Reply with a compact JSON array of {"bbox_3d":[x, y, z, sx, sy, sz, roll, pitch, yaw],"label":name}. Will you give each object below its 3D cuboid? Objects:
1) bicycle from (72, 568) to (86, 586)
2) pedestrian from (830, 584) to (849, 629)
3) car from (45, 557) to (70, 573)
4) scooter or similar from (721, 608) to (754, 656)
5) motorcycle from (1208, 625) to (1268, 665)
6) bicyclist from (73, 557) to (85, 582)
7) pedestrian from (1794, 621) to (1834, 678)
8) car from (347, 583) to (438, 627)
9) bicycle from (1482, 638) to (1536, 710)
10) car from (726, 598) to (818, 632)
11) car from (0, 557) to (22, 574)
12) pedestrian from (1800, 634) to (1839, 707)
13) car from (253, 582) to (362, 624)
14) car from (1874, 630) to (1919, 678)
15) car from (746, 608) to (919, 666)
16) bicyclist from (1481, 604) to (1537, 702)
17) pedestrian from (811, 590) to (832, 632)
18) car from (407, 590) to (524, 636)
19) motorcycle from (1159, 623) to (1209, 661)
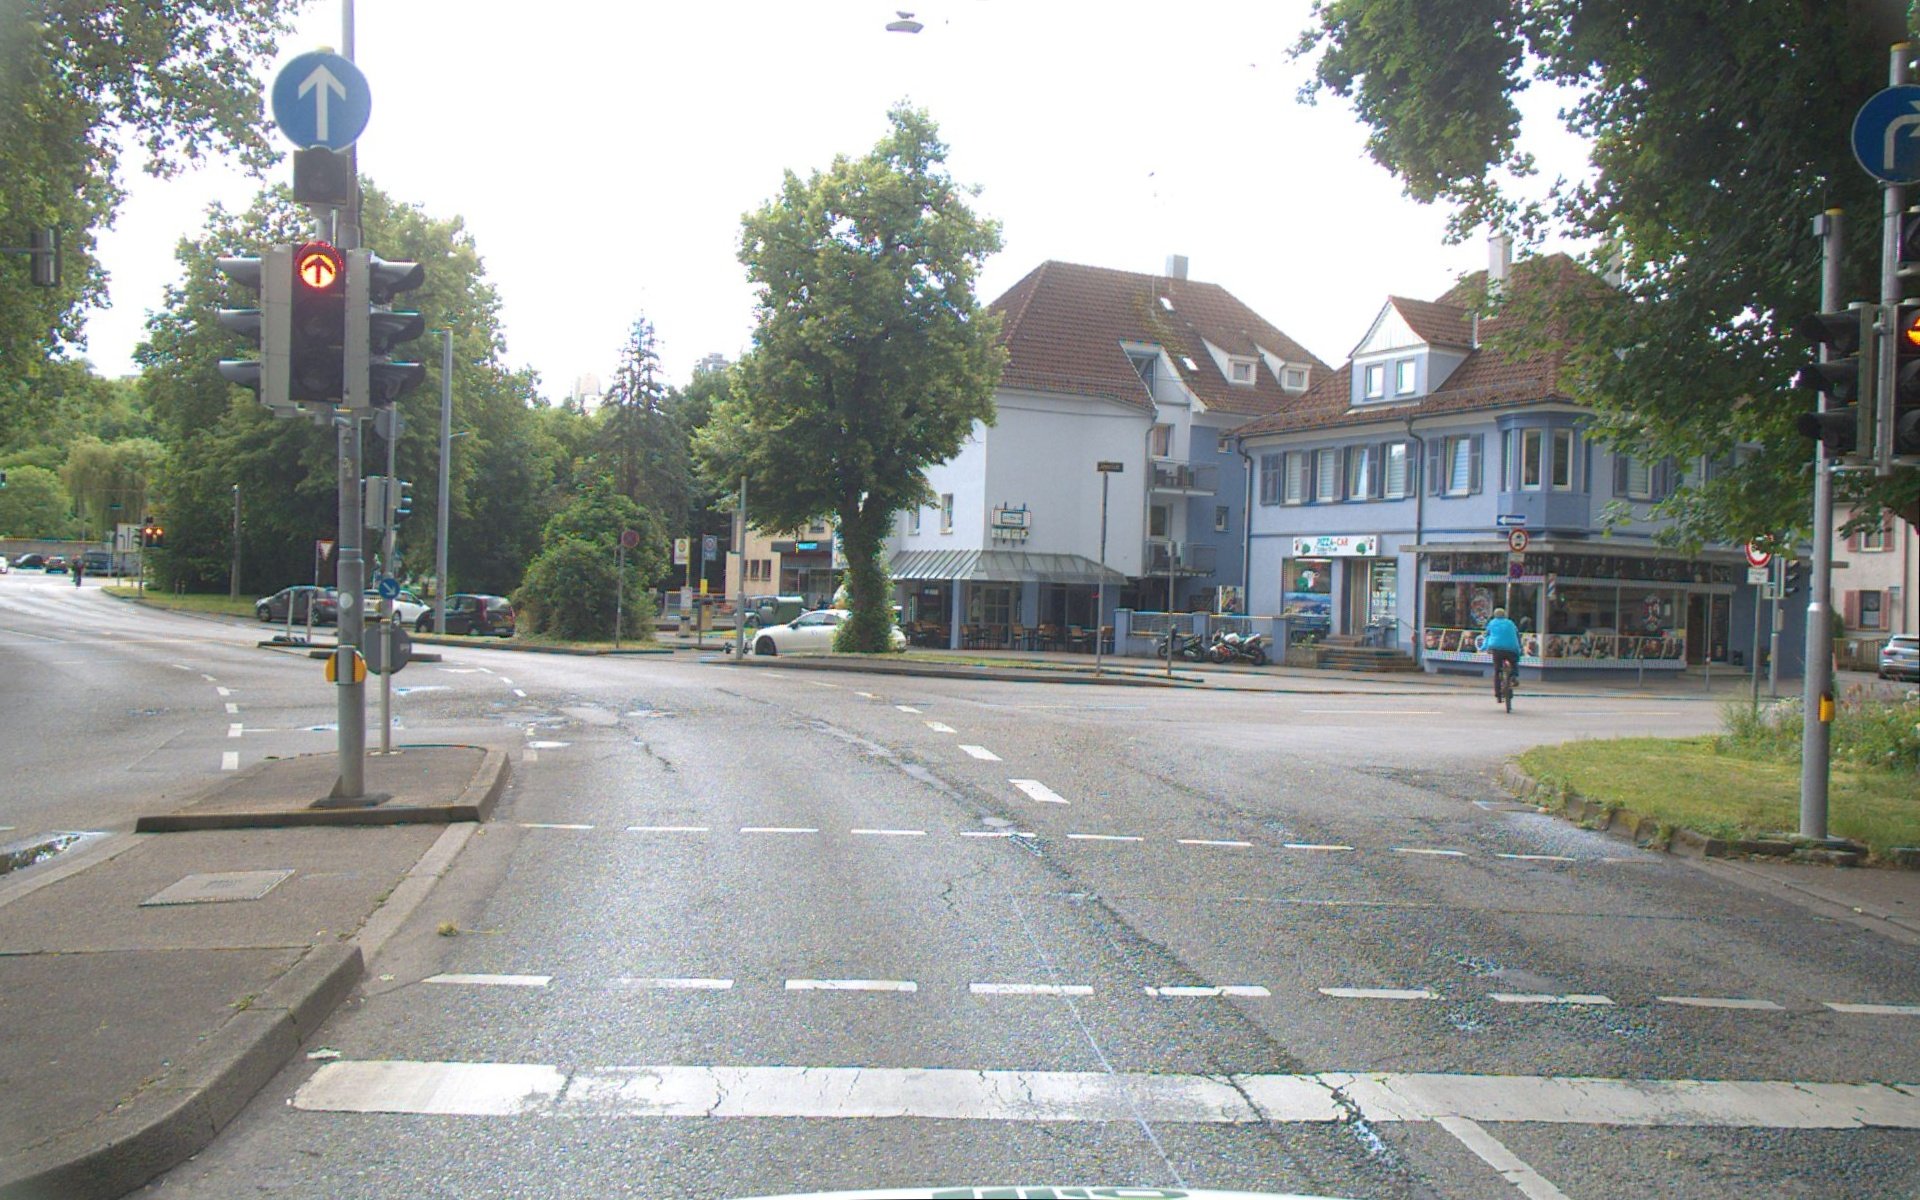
[{"bbox_3d":[-49.596,-1.280,93.091,0.550,0.975,2.012,1,0,-31],"label":"bicycle"},{"bbox_3d":[-4.301,0.245,59.137,0.531,1.587,0.468,0,-1,13],"label":"pedestrian"},{"bbox_3d":[-93.437,-3.615,171.207,1.974,1.624,3.956,1,-1,-32],"label":"car"},{"bbox_3d":[-5.715,0.806,42.524,0.433,1.195,1.439,1,0,8],"label":"scooter or similar"},{"bbox_3d":[8.151,1.315,48.480,1.595,1.107,0.625,1,0,32],"label":"motorcycle"},{"bbox_3d":[-49.530,-1.719,93.003,0.534,1.365,0.706,1,0,-31],"label":"bicyclist"},{"bbox_3d":[23.975,1.389,46.437,0.659,1.587,0.743,1,-1,-15],"label":"pedestrian"},{"bbox_3d":[-22.753,0.215,66.415,1.821,1.668,3.757,1,0,10],"label":"car"},{"bbox_3d":[9.759,1.291,29.392,0.855,1.169,1.953,1,0,19],"label":"bicycle"},{"bbox_3d":[-8.604,0.687,75.495,3.880,1.467,1.742,1,0,-21],"label":"car"},{"bbox_3d":[-88.490,-3.206,153.494,2.971,1.442,1.491,0,-2,41],"label":"car"},{"bbox_3d":[19.187,1.560,36.920,0.717,1.587,0.767,0,-1,30],"label":"pedestrian"},{"bbox_3d":[-25.027,0.111,63.431,3.695,1.491,1.622,1,0,18],"label":"car"},{"bbox_3d":[29.681,1.667,51.717,1.849,1.415,3.608,1,0,28],"label":"car"},{"bbox_3d":[-3.547,0.997,45.700,4.618,1.435,1.896,1,0,35],"label":"car"},{"bbox_3d":[9.687,0.916,29.212,0.896,1.680,0.989,1,0,18],"label":"bicyclist"},{"bbox_3d":[-6.751,0.523,80.705,0.823,2.049,1.052,1,0,-15],"label":"pedestrian"},{"bbox_3d":[-15.931,0.414,53.276,3.252,1.376,1.778,1,0,27],"label":"car"},{"bbox_3d":[6.798,1.262,50.230,1.430,1.107,0.522,1,0,35],"label":"motorcycle"}]
